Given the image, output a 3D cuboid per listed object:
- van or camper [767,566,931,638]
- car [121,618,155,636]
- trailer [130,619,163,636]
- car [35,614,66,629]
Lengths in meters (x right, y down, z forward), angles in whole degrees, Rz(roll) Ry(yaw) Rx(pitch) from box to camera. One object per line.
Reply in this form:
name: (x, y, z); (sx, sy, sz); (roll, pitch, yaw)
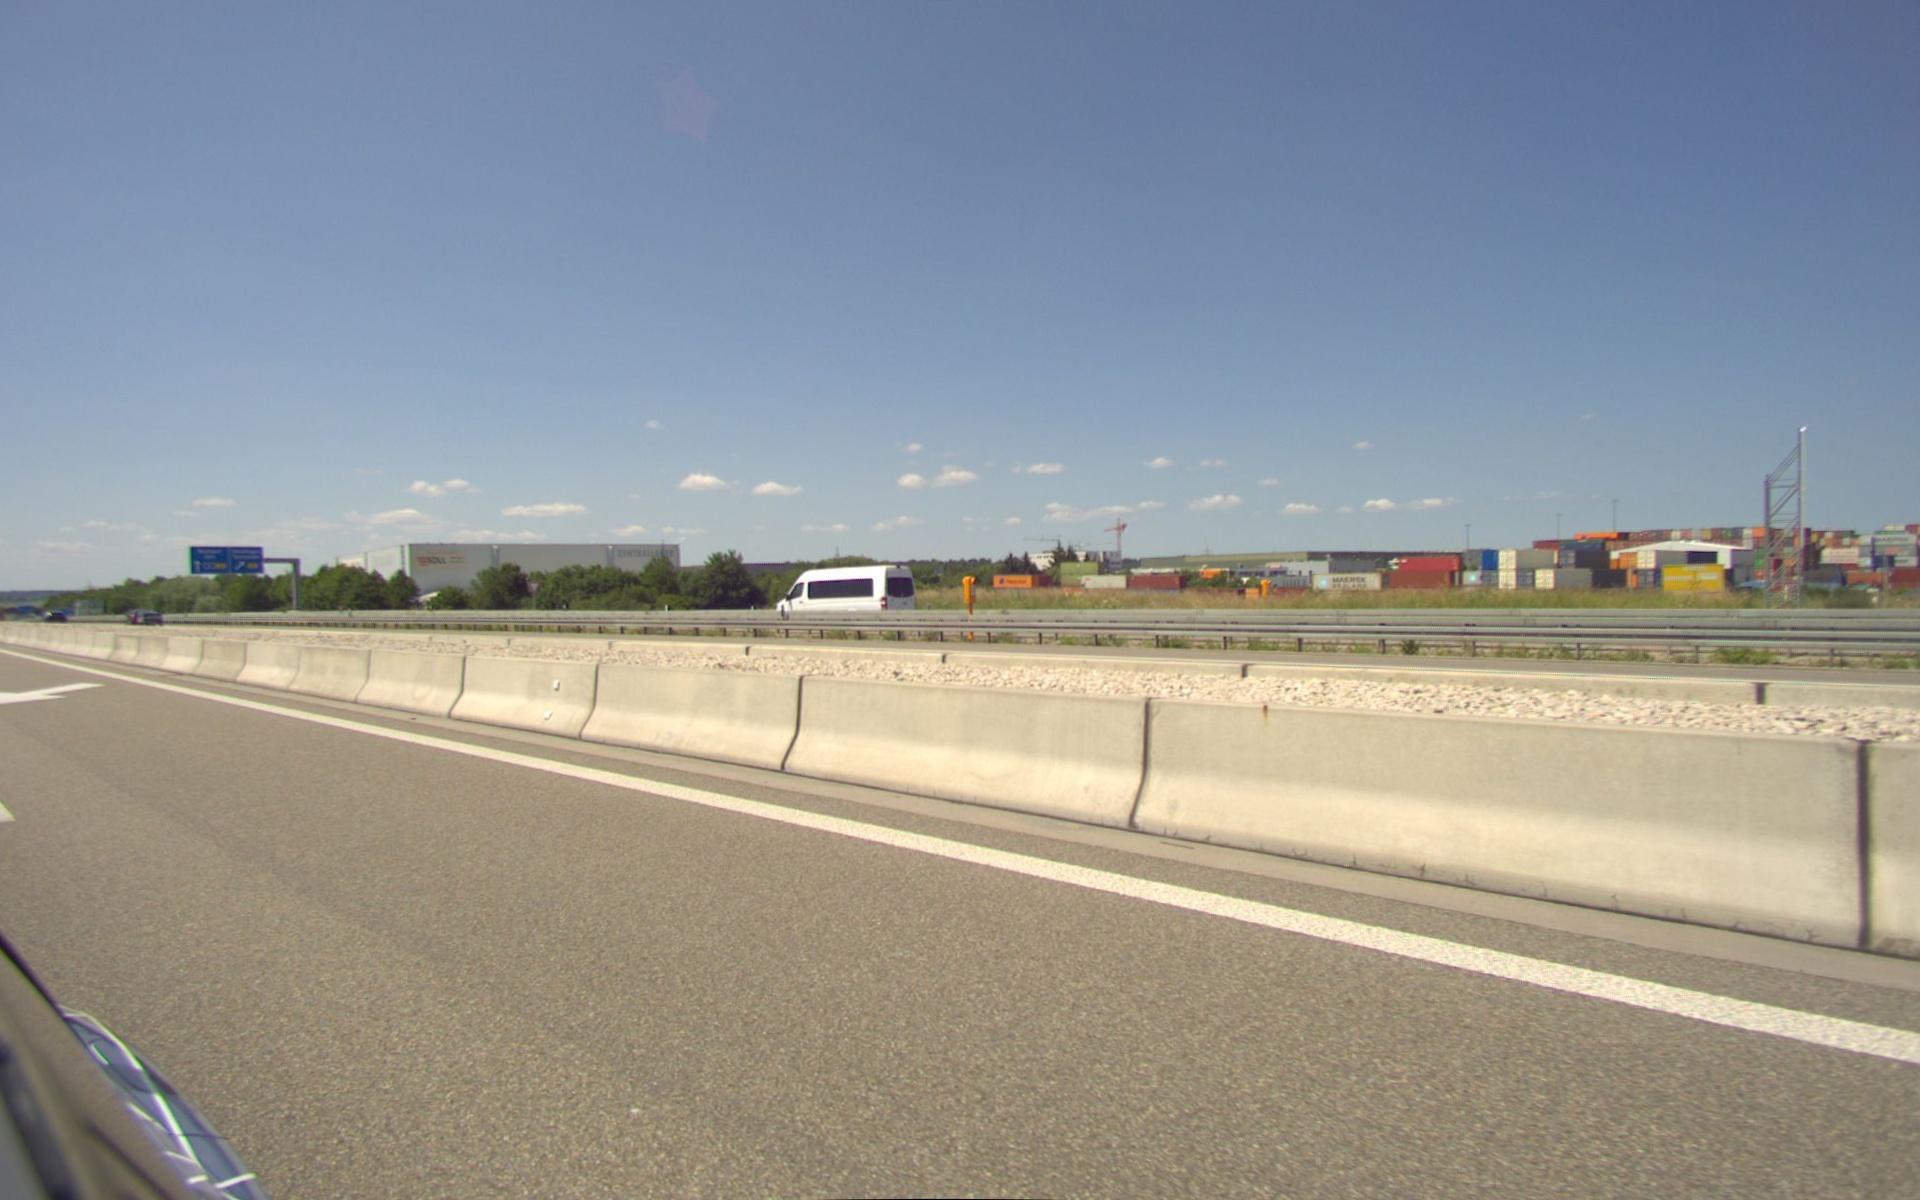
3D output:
van or camper: (-4.855, 0.120, 43.164); (7.537, 2.843, 2.520); (-1, 0, 41)
car: (-75.187, 2.469, 92.572); (3.999, 1.562, 1.773); (-1, 0, 42)
trailer: (-72.337, 2.459, 90.008); (3.682, 1.446, 1.737); (-1, -1, 42)
car: (-94.624, 2.191, 105.323); (4.371, 1.484, 2.009); (-1, 0, 43)
